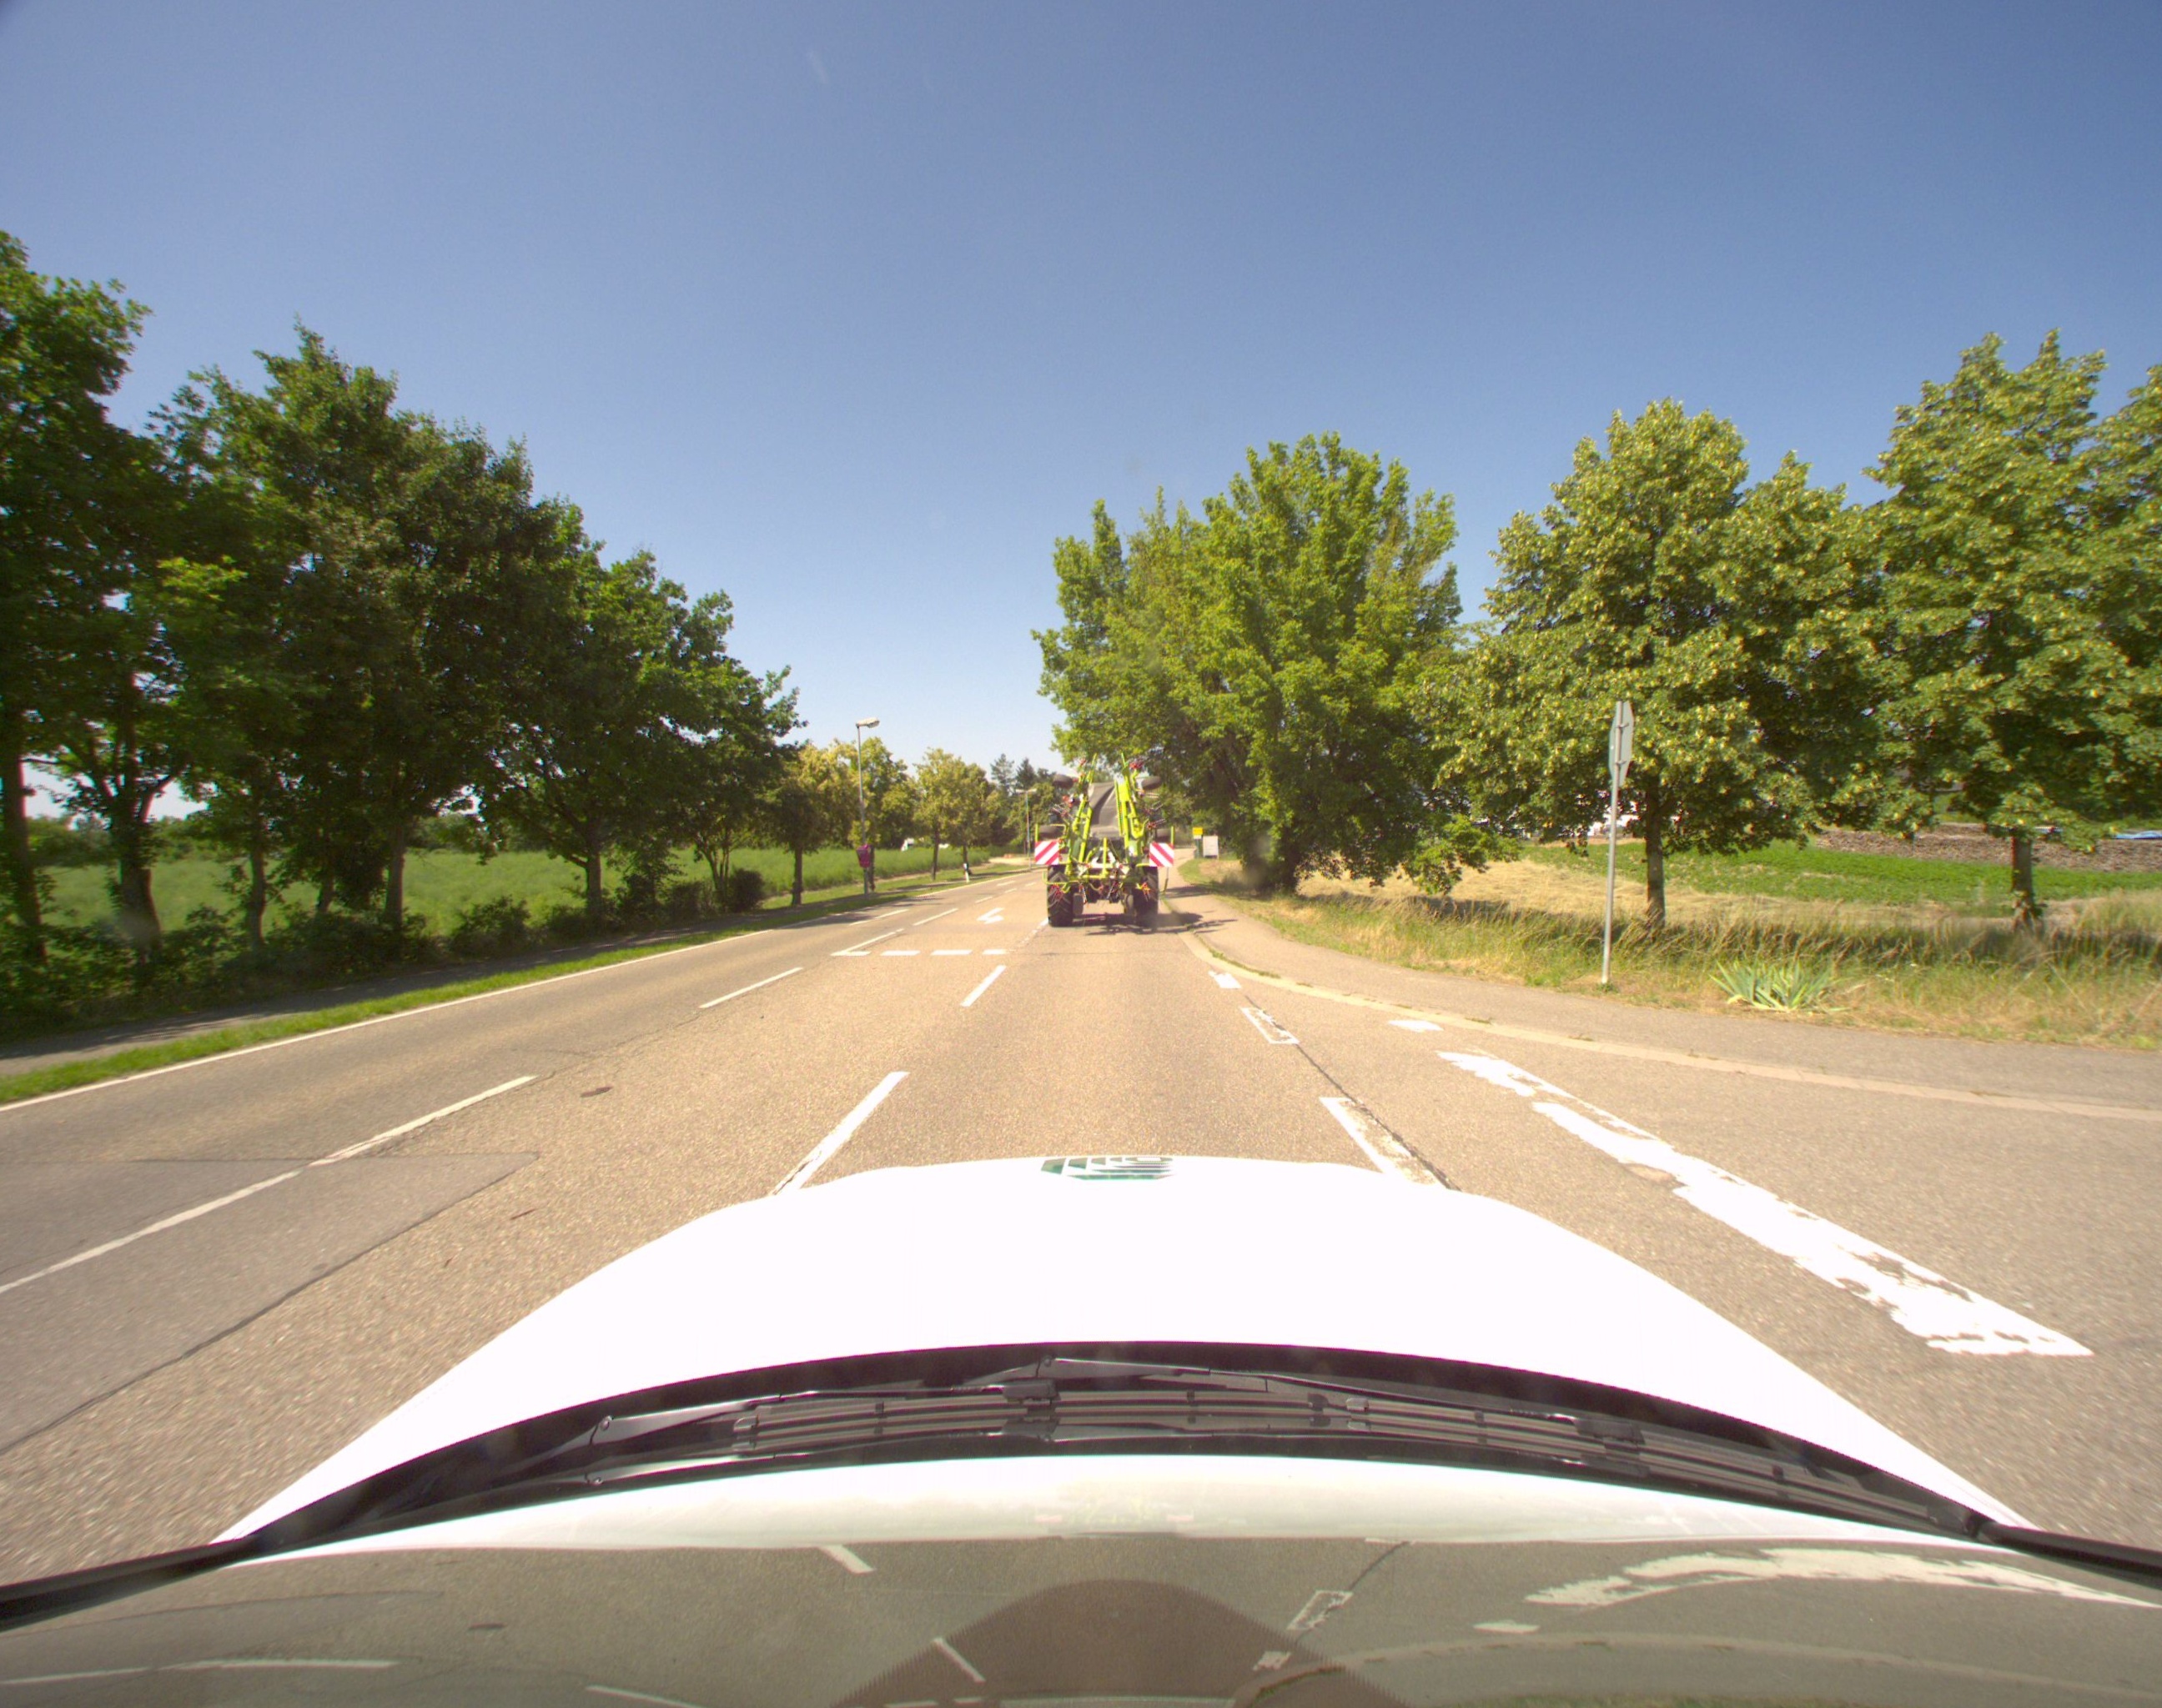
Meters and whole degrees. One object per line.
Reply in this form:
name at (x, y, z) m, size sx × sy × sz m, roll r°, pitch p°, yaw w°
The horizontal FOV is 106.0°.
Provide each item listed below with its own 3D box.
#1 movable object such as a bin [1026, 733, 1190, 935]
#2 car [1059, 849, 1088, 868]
movable object such as a bin at (0.571, -0.384, 19.332) m, size 2.843 × 3.541 × 9.702 m, roll -1°, pitch 0°, yaw 1°
car at (-0.557, 0.316, 65.734) m, size 1.638 × 1.433 × 3.908 m, roll 1°, pitch 1°, yaw 11°
